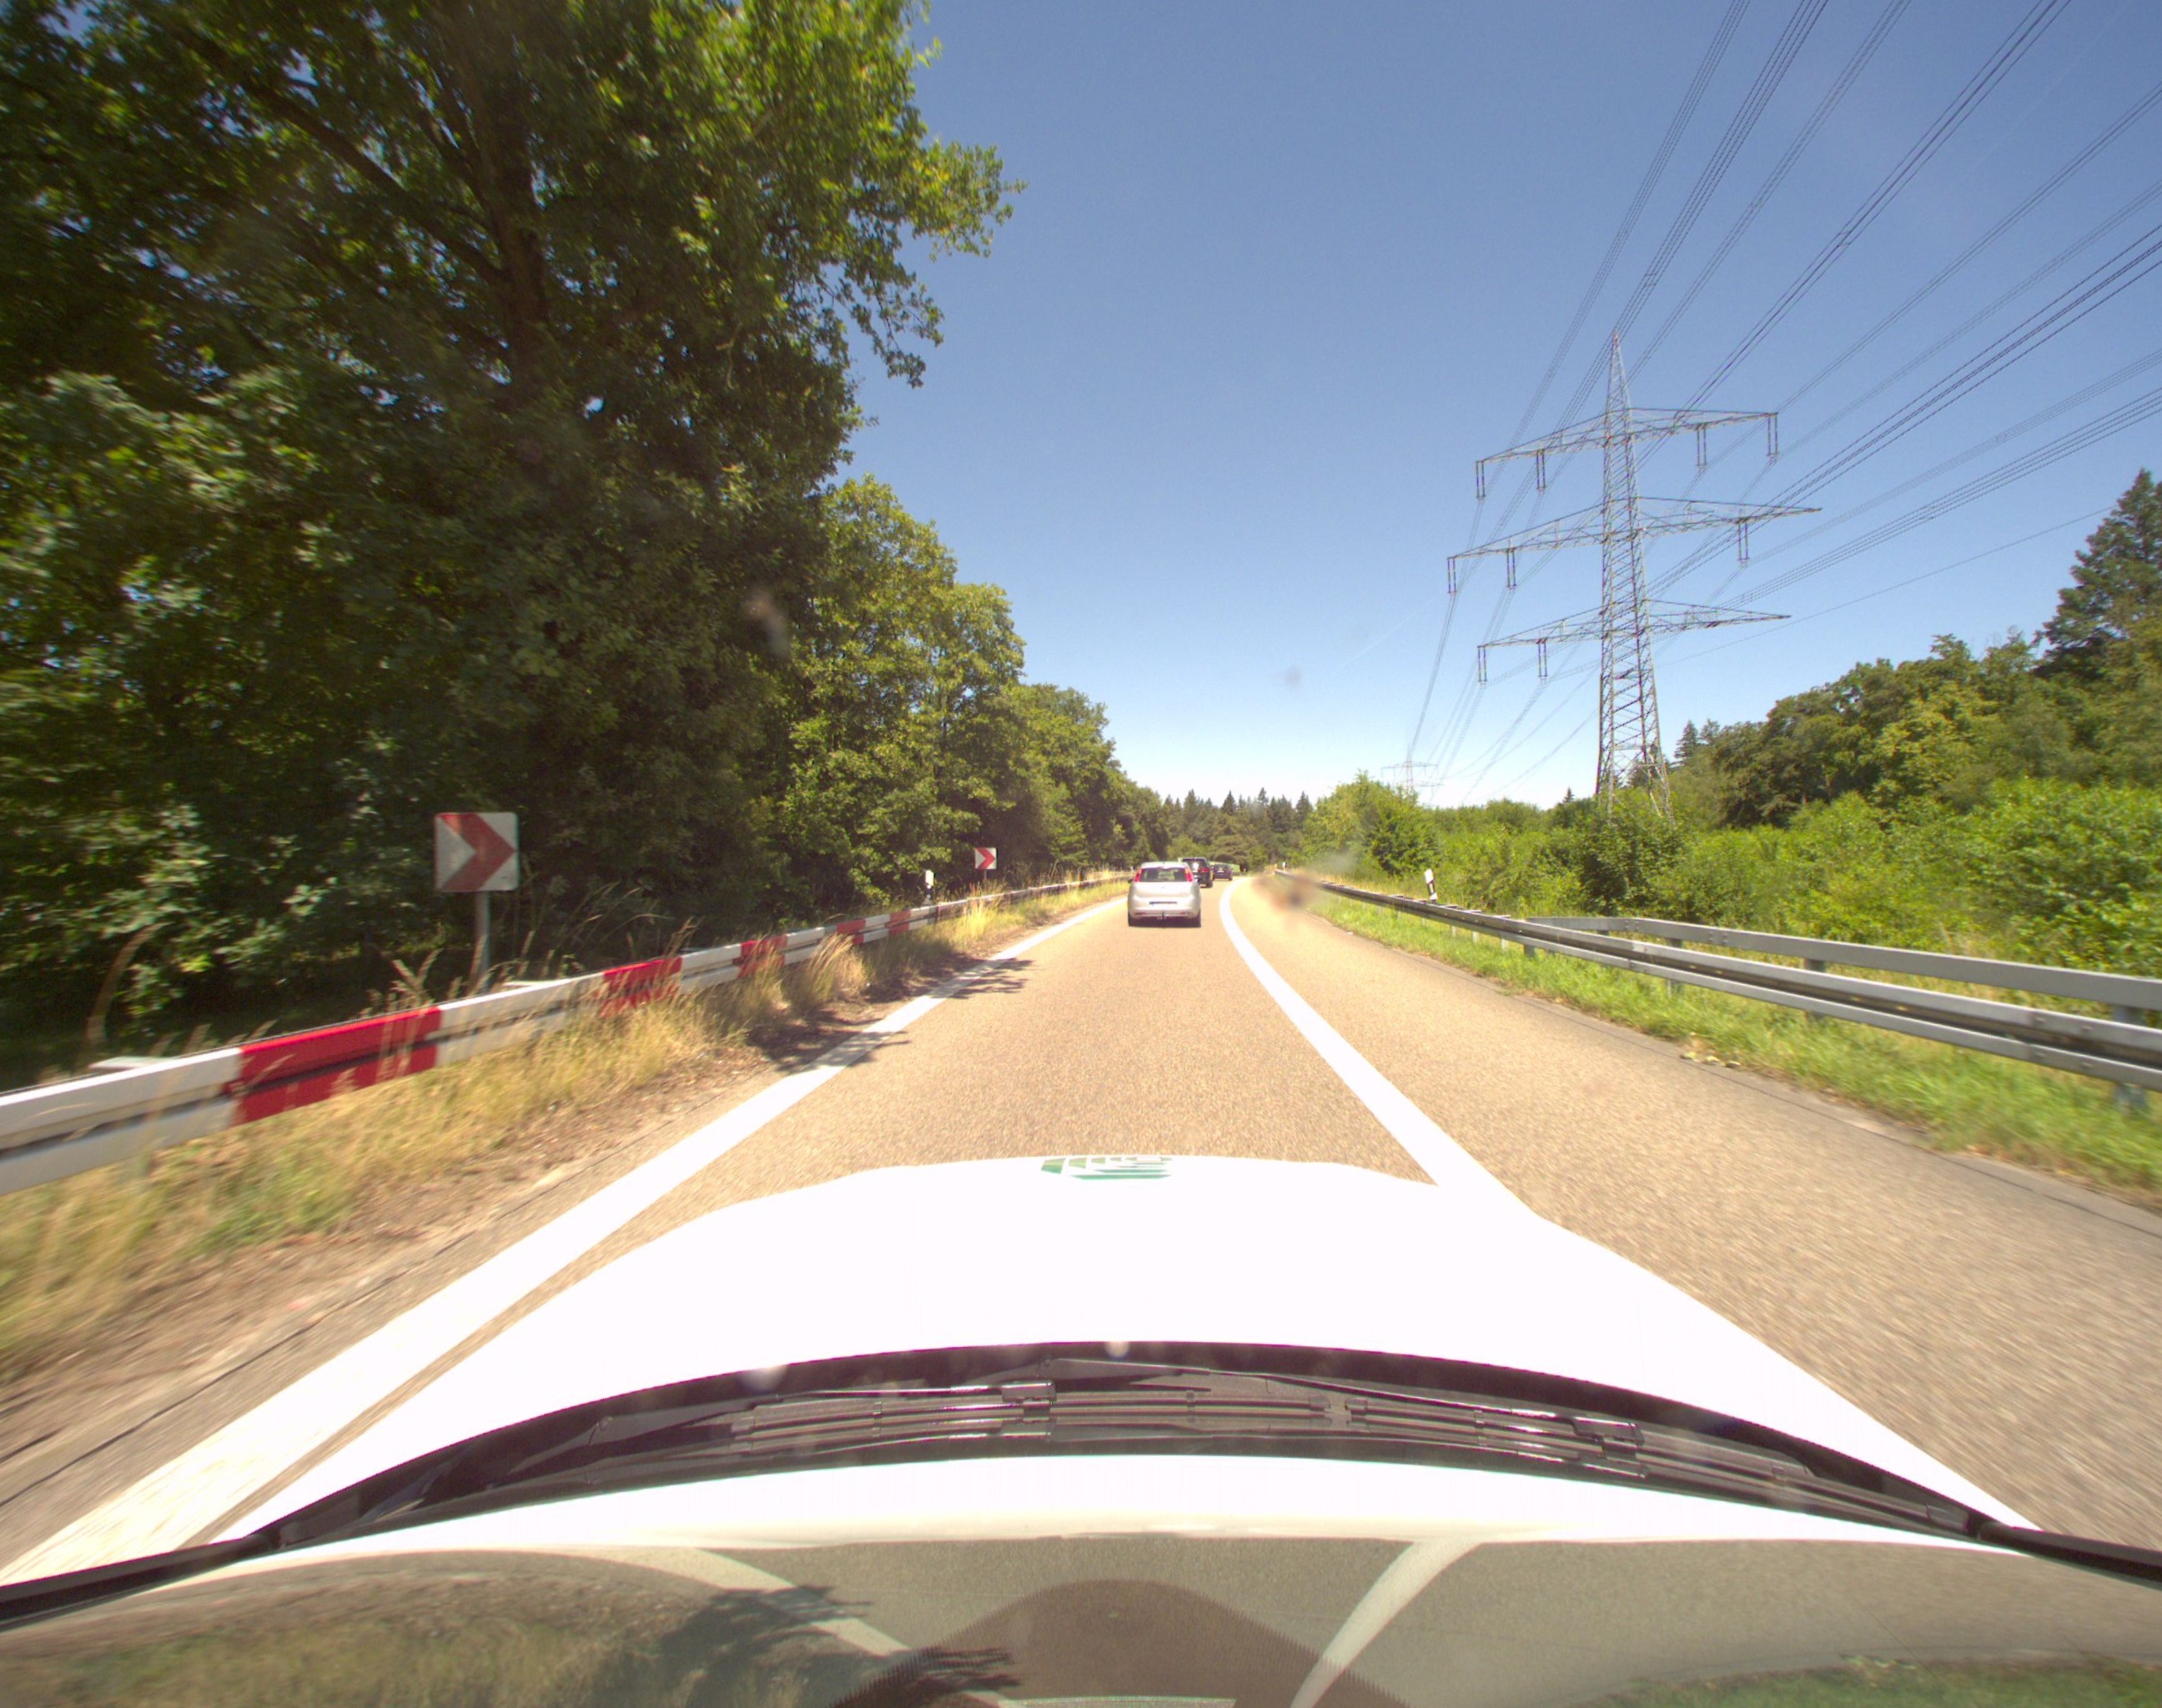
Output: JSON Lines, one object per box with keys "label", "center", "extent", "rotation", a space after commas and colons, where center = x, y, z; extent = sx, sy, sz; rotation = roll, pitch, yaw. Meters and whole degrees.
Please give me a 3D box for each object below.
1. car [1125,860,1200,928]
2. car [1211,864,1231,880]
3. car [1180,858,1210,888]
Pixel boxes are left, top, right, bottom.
{"label": "car", "center": [2.028, 0.890, 19.640], "extent": [1.631, 1.468, 3.427], "rotation": [0, -1, 8]}
{"label": "car", "center": [11.851, 1.499, 68.820], "extent": [1.630, 1.343, 3.583], "rotation": [0, -1, 9]}
{"label": "car", "center": [6.630, 1.089, 47.090], "extent": [1.631, 1.654, 3.583], "rotation": [0, -1, 9]}
